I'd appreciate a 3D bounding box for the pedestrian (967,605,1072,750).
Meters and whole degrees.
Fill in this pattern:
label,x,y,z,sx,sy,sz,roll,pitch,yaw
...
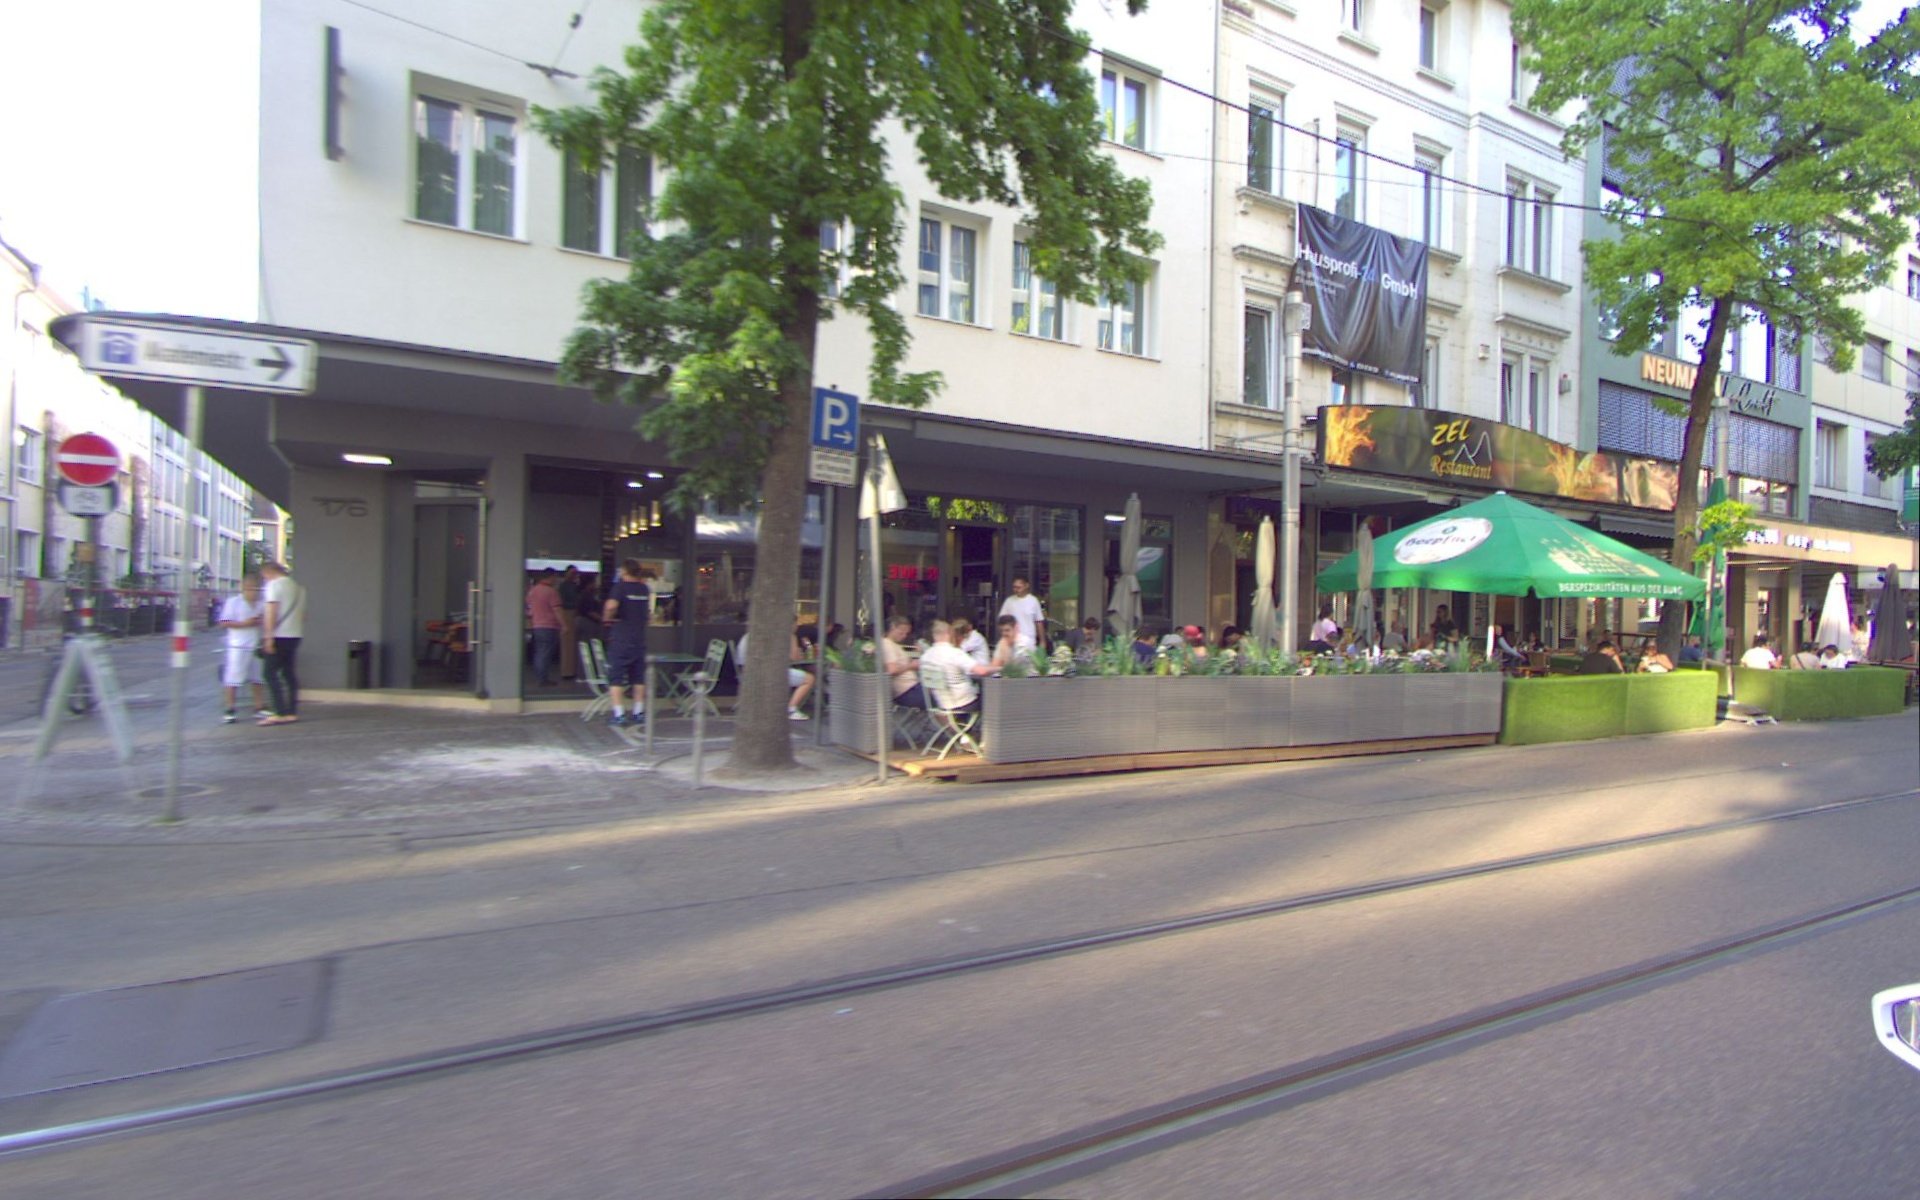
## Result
label,x,y,z,sx,sy,sz,roll,pitch,yaw
pedestrian,0.609,0.775,10.358,0.797,1.405,0.686,1,1,-29

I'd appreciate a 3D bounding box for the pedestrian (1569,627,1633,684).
label,x,y,z,sx,sy,sz,roll,pitch,yaw
pedestrian,14.401,1.234,22.567,1.052,1.204,0.749,1,3,-30

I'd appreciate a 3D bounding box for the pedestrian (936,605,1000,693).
label,x,y,z,sx,sy,sz,roll,pitch,yaw
pedestrian,0.109,0.673,13.996,0.678,1.177,0.550,1,1,-29

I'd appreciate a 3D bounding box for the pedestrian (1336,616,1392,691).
label,x,y,z,sx,sy,sz,roll,pitch,yaw
pedestrian,7.487,0.981,18.618,0.689,1.327,0.616,1,3,-30

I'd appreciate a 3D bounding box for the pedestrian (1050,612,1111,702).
label,x,y,z,sx,sy,sz,roll,pitch,yaw
pedestrian,1.842,0.862,15.385,0.678,1.316,0.599,1,1,-29

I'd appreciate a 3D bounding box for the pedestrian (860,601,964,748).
label,x,y,z,sx,sy,sz,roll,pitch,yaw
pedestrian,-0.497,0.732,10.231,0.797,1.405,0.686,1,1,-29

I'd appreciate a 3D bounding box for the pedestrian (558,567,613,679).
label,x,y,z,sx,sy,sz,roll,pitch,yaw
pedestrian,-5.550,0.335,14.894,0.608,1.625,0.405,1,0,4

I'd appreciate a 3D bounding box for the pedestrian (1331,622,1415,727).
label,x,y,z,sx,sy,sz,roll,pitch,yaw
pedestrian,5.726,1.017,13.932,0.771,1.365,0.705,1,1,-27

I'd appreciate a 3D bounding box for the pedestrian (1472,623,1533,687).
label,x,y,z,sx,sy,sz,roll,pitch,yaw
pedestrian,11.100,1.116,20.551,0.779,1.230,0.733,1,3,-30

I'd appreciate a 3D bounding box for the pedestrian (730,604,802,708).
label,x,y,z,sx,sy,sz,roll,pitch,yaw
pedestrian,-2.544,0.719,13.146,0.730,1.286,0.642,1,1,-29

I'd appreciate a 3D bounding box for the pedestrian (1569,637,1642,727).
label,x,y,z,sx,sy,sz,roll,pitch,yaw
pedestrian,9.721,1.215,15.128,0.689,1.262,0.616,1,3,-30

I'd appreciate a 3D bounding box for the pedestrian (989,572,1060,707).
label,x,y,z,sx,sy,sz,roll,pitch,yaw
pedestrian,0.883,0.532,13.877,0.746,1.815,0.685,2,1,-13

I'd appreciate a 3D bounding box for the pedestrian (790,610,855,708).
label,x,y,z,sx,sy,sz,roll,pitch,yaw
pedestrian,-1.849,0.776,13.477,0.678,1.252,0.550,1,1,-29

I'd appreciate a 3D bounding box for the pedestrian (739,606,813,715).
label,x,y,z,sx,sy,sz,roll,pitch,yaw
pedestrian,-2.295,0.738,12.530,0.719,1.299,0.624,1,1,-29

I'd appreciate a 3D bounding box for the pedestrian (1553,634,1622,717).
label,x,y,z,sx,sy,sz,roll,pitch,yaw
pedestrian,10.117,1.205,16.202,0.689,1.262,0.616,1,3,-30

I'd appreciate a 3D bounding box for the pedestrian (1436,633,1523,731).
label,x,y,z,sx,sy,sz,roll,pitch,yaw
pedestrian,7.193,1.118,13.920,0.762,1.276,0.705,1,1,-27

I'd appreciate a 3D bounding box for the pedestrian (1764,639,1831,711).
label,x,y,z,sx,sy,sz,roll,pitch,yaw
pedestrian,15.749,1.392,18.894,0.862,1.261,0.653,1,3,-30

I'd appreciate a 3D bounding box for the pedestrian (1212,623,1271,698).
label,x,y,z,sx,sy,sz,roll,pitch,yaw
pedestrian,4.645,0.991,16.609,0.679,1.190,0.599,1,1,-29

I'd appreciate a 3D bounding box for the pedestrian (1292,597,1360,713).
label,x,y,z,sx,sy,sz,roll,pitch,yaw
pedestrian,5.563,0.822,15.281,0.689,1.693,0.616,1,1,-30

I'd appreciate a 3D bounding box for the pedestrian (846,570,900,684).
label,x,y,z,sx,sy,sz,roll,pitch,yaw
pedestrian,-1.441,0.434,16.737,0.673,1.844,0.767,2,1,10

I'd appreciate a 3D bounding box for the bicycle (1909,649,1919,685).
label,x,y,z,sx,sy,sz,roll,pitch,yaw
bicycle,24.538,1.701,24.497,1.822,0.876,0.837,2,2,9

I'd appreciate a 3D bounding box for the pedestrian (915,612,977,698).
label,x,y,z,sx,sy,sz,roll,pitch,yaw
pedestrian,-0.208,0.787,14.484,0.678,1.177,0.550,1,1,-29

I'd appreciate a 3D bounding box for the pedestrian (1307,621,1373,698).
label,x,y,z,sx,sy,sz,roll,pitch,yaw
pedestrian,6.565,1.022,17.362,0.789,1.259,0.666,1,1,-30

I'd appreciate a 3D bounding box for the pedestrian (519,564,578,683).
label,x,y,z,sx,sy,sz,roll,pitch,yaw
pedestrian,-5.733,0.320,13.993,0.608,1.625,0.405,1,0,4

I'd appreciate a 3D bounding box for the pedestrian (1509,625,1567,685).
label,x,y,z,sx,sy,sz,roll,pitch,yaw
pedestrian,12.214,1.158,21.232,0.779,1.184,0.696,1,3,-30

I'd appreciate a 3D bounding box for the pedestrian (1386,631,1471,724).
label,x,y,z,sx,sy,sz,roll,pitch,yaw
pedestrian,6.843,1.111,14.687,0.858,1.276,0.705,2,1,-27

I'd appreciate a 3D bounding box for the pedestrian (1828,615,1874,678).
label,x,y,z,sx,sy,sz,roll,pitch,yaw
pedestrian,23.322,1.218,26.302,0.692,1.595,0.644,1,2,-30

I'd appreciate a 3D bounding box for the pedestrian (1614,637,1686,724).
label,x,y,z,sx,sy,sz,roll,pitch,yaw
pedestrian,10.629,1.226,15.485,0.689,1.262,0.616,1,3,-30

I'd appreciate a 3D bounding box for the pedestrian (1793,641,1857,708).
label,x,y,z,sx,sy,sz,roll,pitch,yaw
pedestrian,16.631,1.417,19.318,0.788,1.209,0.653,1,3,-30

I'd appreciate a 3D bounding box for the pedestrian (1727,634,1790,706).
label,x,y,z,sx,sy,sz,roll,pitch,yaw
pedestrian,15.537,1.353,19.556,0.788,1.310,0.653,1,3,-30

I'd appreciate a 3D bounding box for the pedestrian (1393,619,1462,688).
label,x,y,z,sx,sy,sz,roll,pitch,yaw
pedestrian,9.153,1.037,19.677,0.934,1.254,0.773,1,3,-30

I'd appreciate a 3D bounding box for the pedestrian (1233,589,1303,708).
label,x,y,z,sx,sy,sz,roll,pitch,yaw
pedestrian,4.758,0.733,15.537,0.688,1.780,0.675,1,1,-28

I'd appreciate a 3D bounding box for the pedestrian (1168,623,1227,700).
label,x,y,z,sx,sy,sz,roll,pitch,yaw
pedestrian,3.804,0.975,16.094,0.678,1.177,0.550,1,1,-29

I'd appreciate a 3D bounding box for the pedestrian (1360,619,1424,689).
label,x,y,z,sx,sy,sz,roll,pitch,yaw
pedestrian,8.195,1.013,19.050,0.779,1.248,0.733,1,3,-30

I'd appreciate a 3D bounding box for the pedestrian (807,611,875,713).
label,x,y,z,sx,sy,sz,roll,pitch,yaw
pedestrian,-1.544,0.791,13.008,0.678,1.252,0.550,1,1,-29

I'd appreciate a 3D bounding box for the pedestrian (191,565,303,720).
label,x,y,z,sx,sy,sz,roll,pitch,yaw
pedestrian,-7.937,0.438,11.184,0.787,1.636,0.861,1,2,44

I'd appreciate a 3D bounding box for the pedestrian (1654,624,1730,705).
label,x,y,z,sx,sy,sz,roll,pitch,yaw
pedestrian,13.187,1.141,18.104,0.862,1.361,0.750,1,3,-30

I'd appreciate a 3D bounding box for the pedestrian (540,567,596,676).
label,x,y,z,sx,sy,sz,roll,pitch,yaw
pedestrian,-6.041,0.325,15.491,0.492,1.625,0.619,1,0,34

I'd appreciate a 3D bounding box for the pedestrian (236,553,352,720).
label,x,y,z,sx,sy,sz,roll,pitch,yaw
pedestrian,-7.324,0.390,11.088,0.784,1.764,0.864,0,0,-10

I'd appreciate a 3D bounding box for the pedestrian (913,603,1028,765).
label,x,y,z,sx,sy,sz,roll,pitch,yaw
pedestrian,0.090,0.747,9.325,0.797,1.405,0.686,1,1,-29

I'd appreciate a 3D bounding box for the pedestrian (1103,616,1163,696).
label,x,y,z,sx,sy,sz,roll,pitch,yaw
pedestrian,2.660,0.850,15.454,0.678,1.177,0.550,1,1,-29

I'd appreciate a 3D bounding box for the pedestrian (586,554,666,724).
label,x,y,z,sx,sy,sz,roll,pitch,yaw
pedestrian,-3.746,0.428,11.322,0.751,1.840,0.685,2,1,-14

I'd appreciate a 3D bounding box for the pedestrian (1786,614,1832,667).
label,x,y,z,sx,sy,sz,roll,pitch,yaw
pedestrian,25.033,1.198,29.617,0.756,1.486,0.765,1,3,-32

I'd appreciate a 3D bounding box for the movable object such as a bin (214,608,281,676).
label,x,y,z,sx,sy,sz,roll,pitch,yaw
movable object such as a bin,-12.370,0.708,17.477,0.846,1.129,1.108,0,1,-31

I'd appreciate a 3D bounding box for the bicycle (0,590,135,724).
label,x,y,z,sx,sy,sz,roll,pitch,yaw
bicycle,-10.226,0.599,11.565,0.703,1.399,1.867,-2,1,-27

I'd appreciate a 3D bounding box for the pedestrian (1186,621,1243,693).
label,x,y,z,sx,sy,sz,roll,pitch,yaw
pedestrian,4.350,0.966,17.188,0.679,1.173,0.599,1,1,-29

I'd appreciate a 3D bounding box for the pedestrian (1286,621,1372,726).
label,x,y,z,sx,sy,sz,roll,pitch,yaw
pedestrian,4.962,0.970,13.526,0.797,1.329,0.686,1,1,-29
